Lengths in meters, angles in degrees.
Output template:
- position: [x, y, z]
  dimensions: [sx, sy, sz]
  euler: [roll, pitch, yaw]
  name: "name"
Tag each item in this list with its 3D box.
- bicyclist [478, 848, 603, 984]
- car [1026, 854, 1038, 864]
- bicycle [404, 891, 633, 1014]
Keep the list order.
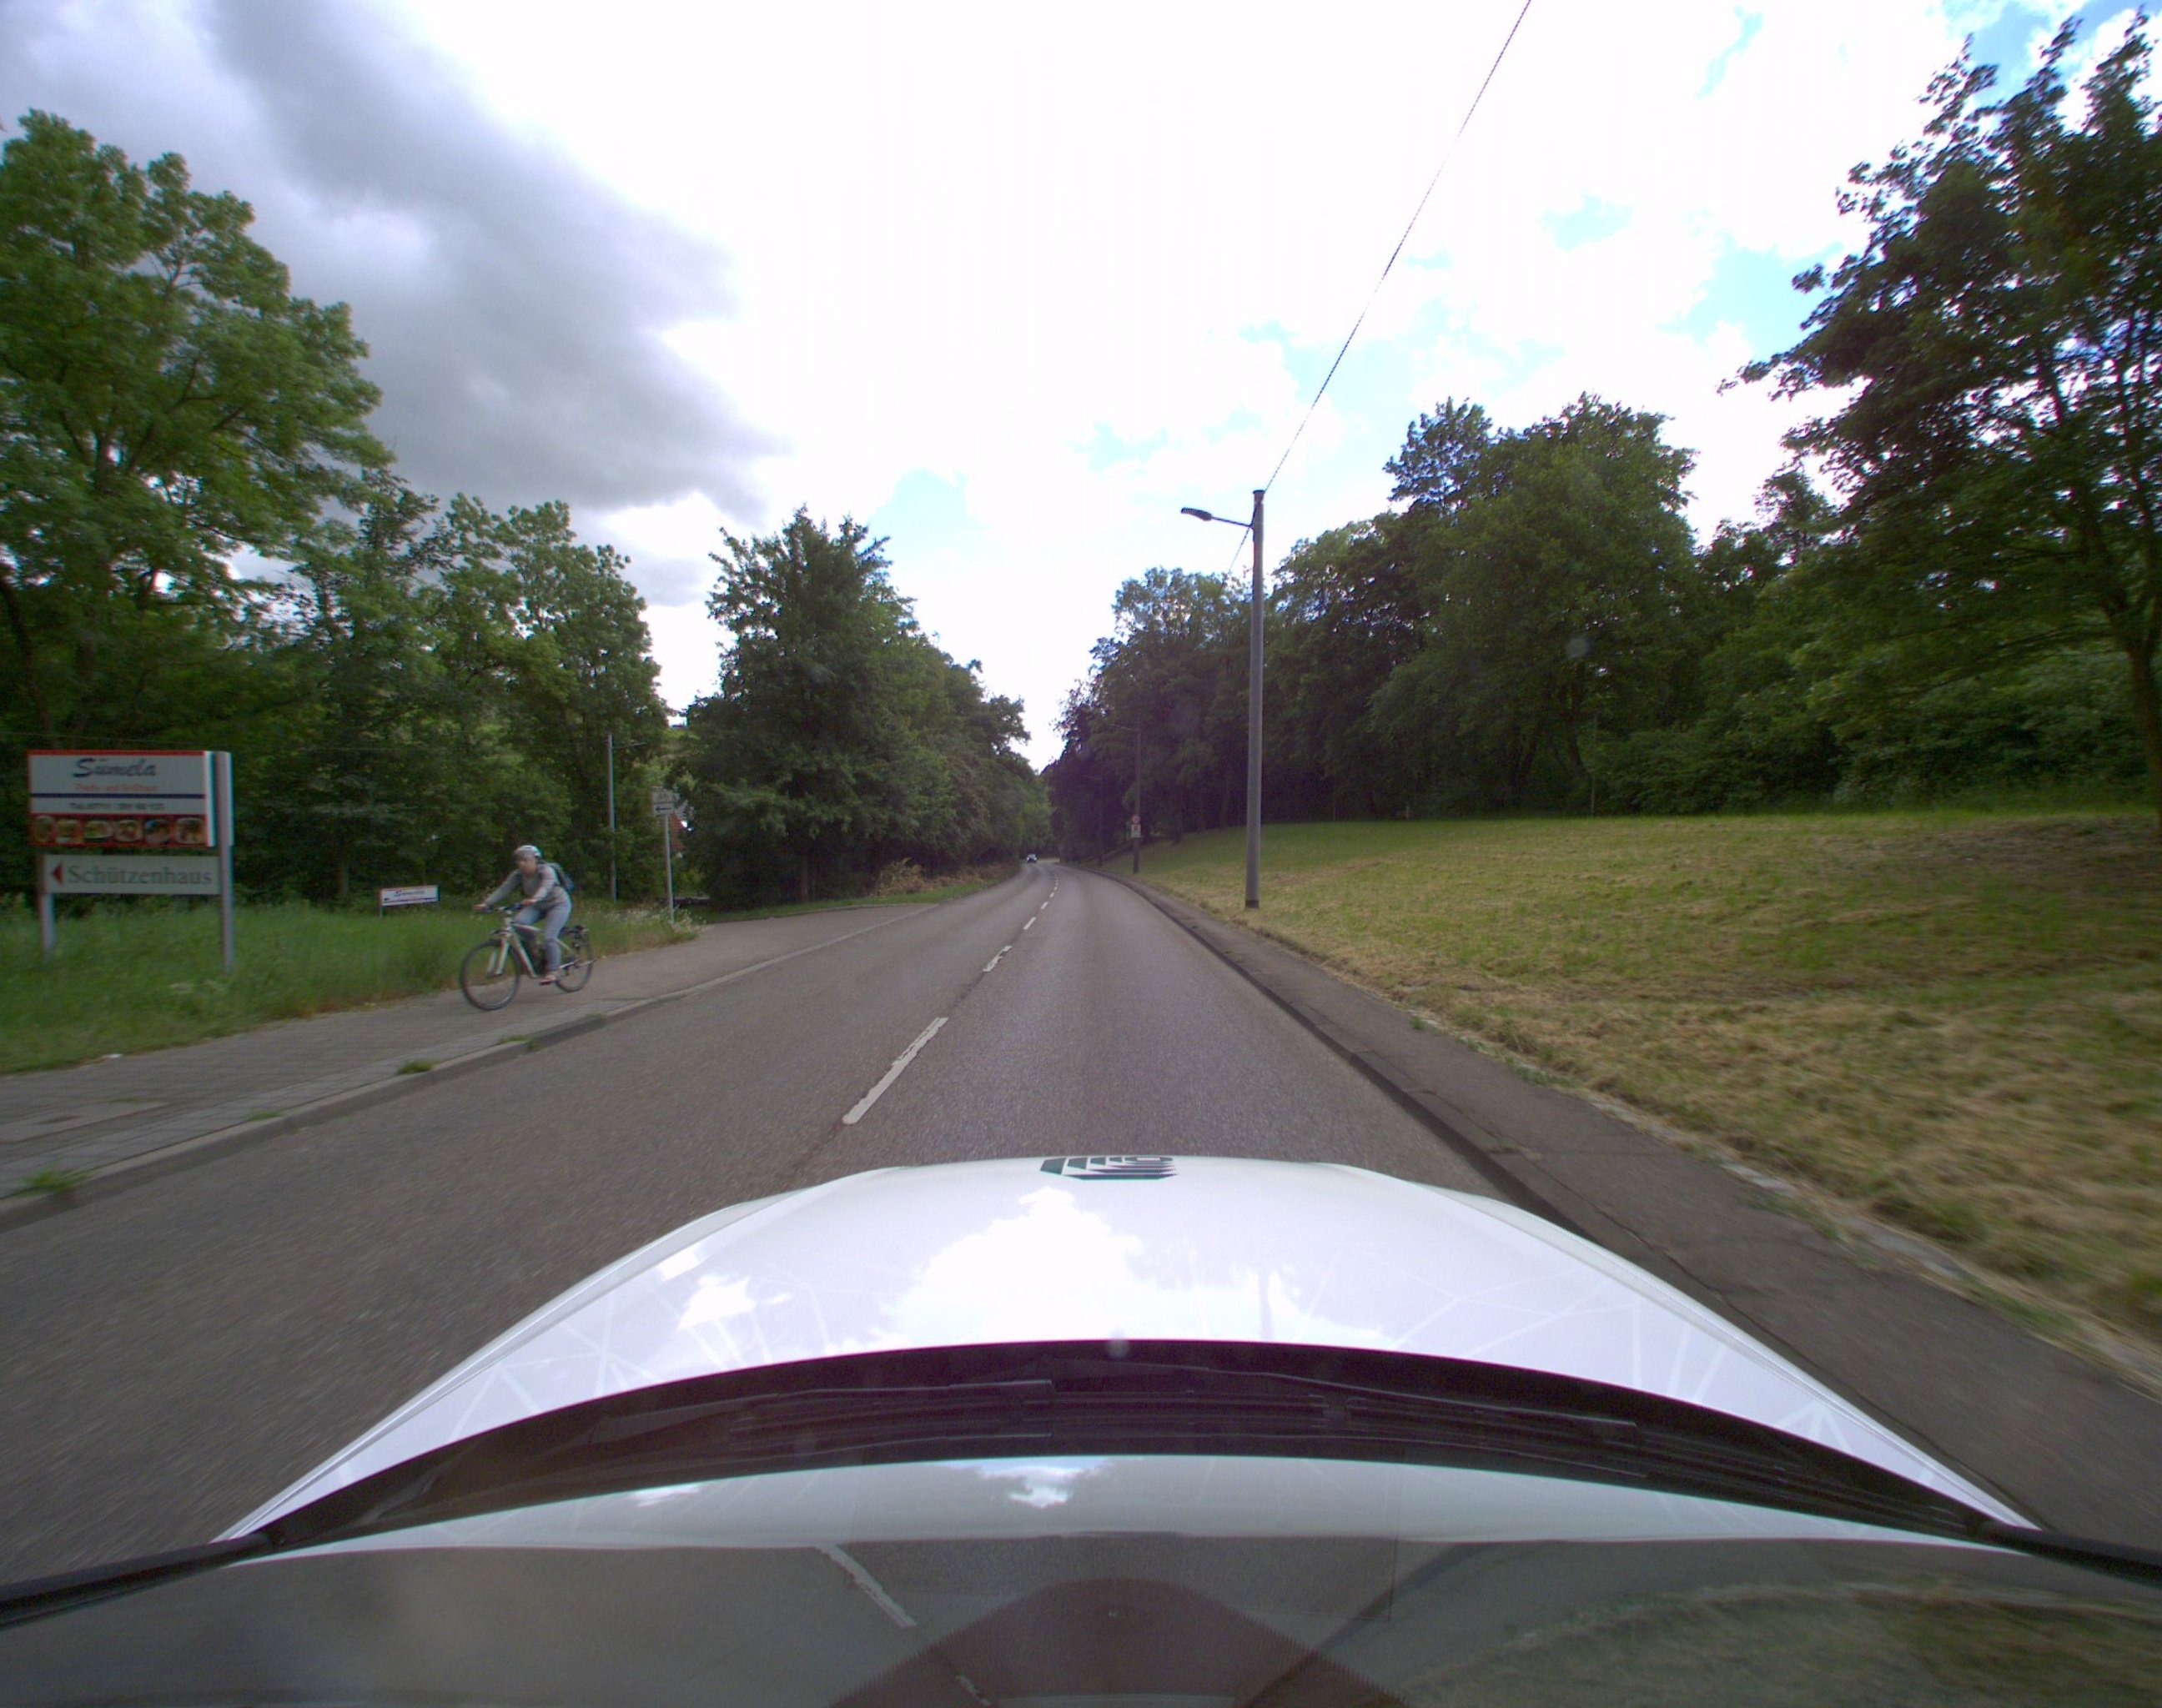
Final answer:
- position: [-5.887, 0.653, 8.921]
  dimensions: [0.824, 1.427, 0.781]
  euler: [0, -1, -2]
  name: "bicyclist"
- position: [-10.307, 1.049, 172.000]
  dimensions: [1.986, 2.014, 4.001]
  euler: [1, -1, 2]
  name: "car"
- position: [-5.906, 0.975, 8.806]
  dimensions: [0.827, 1.036, 2.441]
  euler: [1, -1, -2]
  name: "bicycle"
